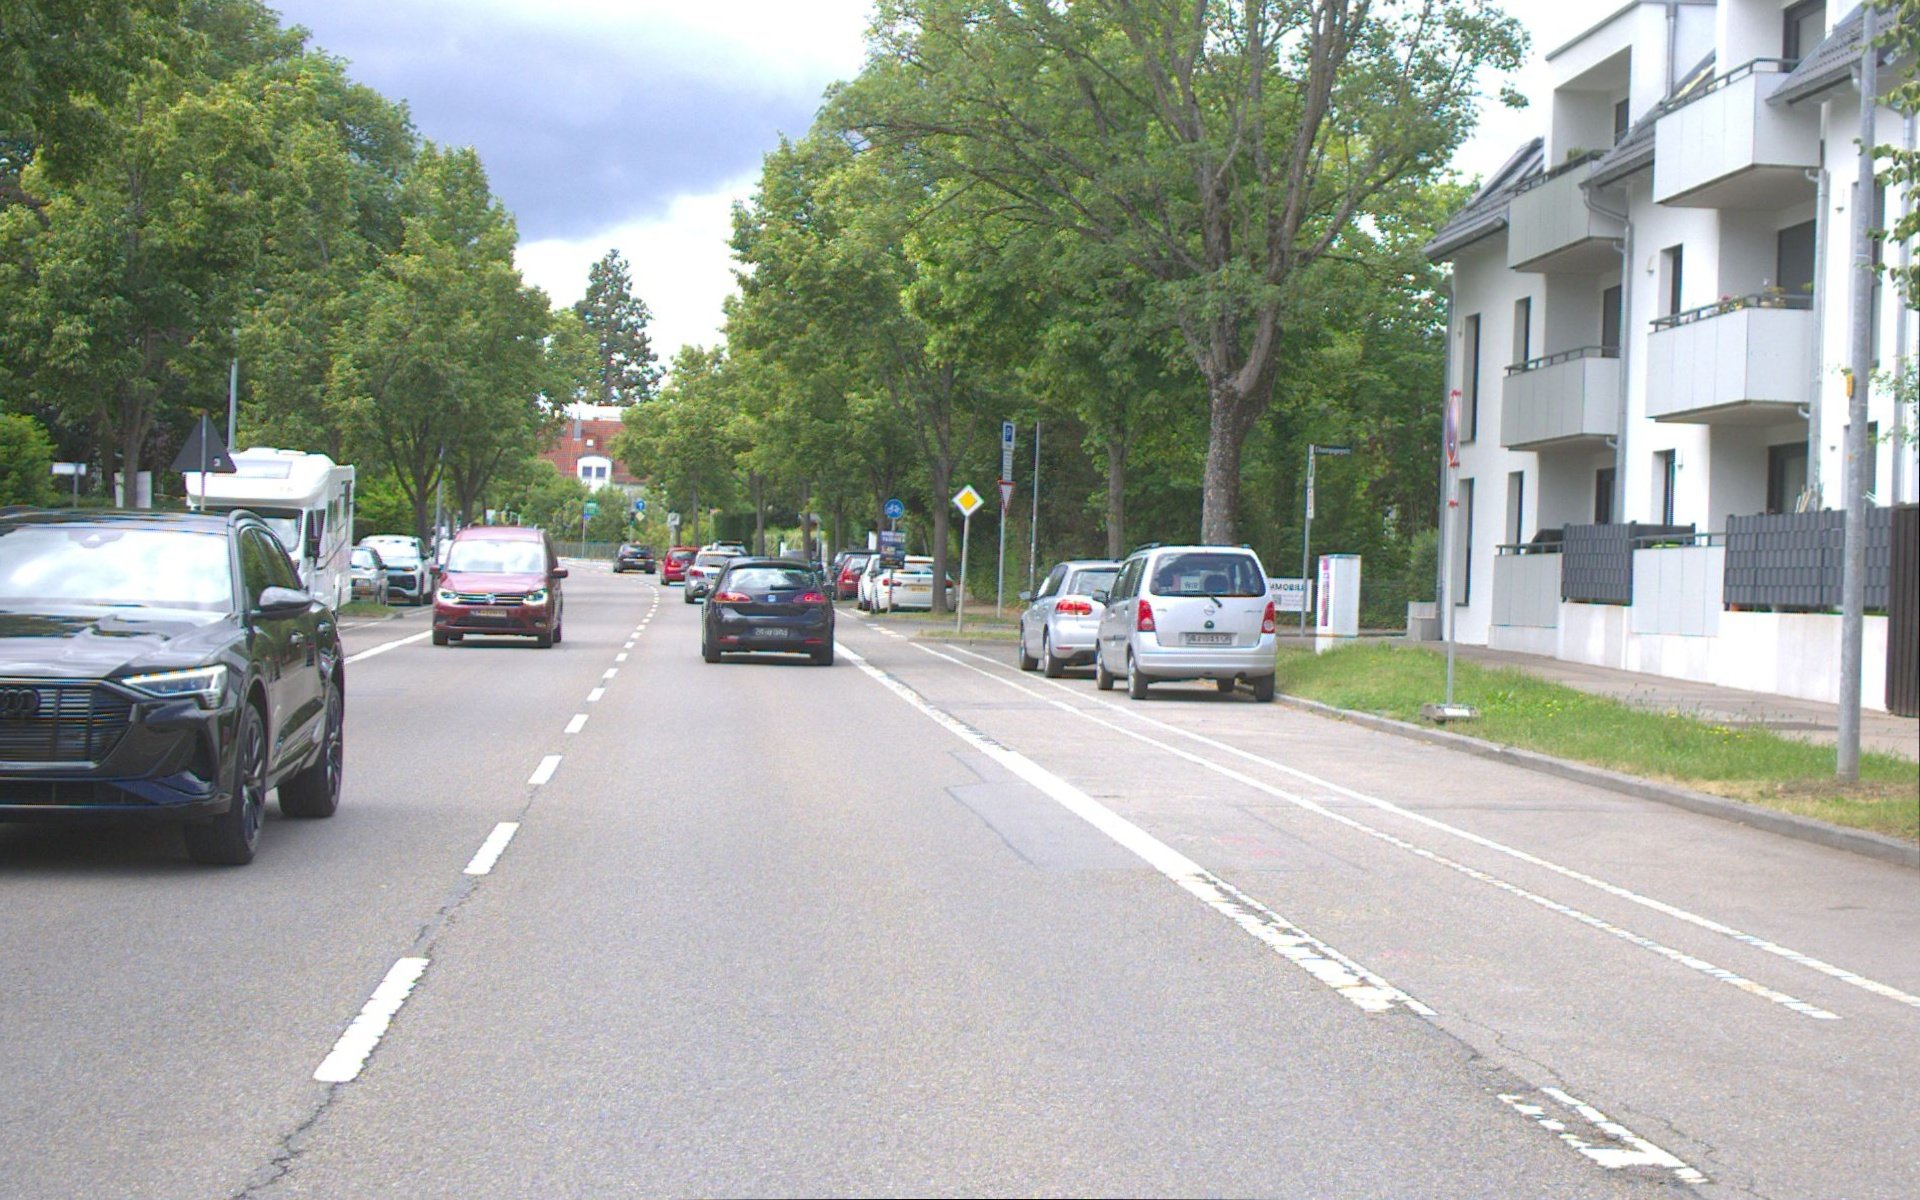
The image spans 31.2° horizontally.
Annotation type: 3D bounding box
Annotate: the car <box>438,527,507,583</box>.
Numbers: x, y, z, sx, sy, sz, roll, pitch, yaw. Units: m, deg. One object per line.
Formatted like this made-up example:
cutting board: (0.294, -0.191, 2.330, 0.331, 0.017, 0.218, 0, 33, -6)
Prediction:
car: (-15.562, -1.450, 110.018, 1.873, 1.682, 4.867, 1, 1, -5)

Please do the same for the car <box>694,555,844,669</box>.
car: (-2.642, 0.132, 46.929, 1.783, 1.444, 3.559, 2, 1, -7)

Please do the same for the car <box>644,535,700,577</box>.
car: (-11.056, -1.694, 131.894, 1.993, 1.525, 4.001, 1, 1, -6)

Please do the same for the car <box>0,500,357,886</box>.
car: (-4.285, 0.368, 17.084, 1.993, 1.662, 4.590, 0, 1, -3)

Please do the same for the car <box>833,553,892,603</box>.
car: (-2.914, -0.663, 102.063, 1.638, 1.415, 4.001, 1, 1, -3)

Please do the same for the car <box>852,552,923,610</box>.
car: (-1.928, -0.505, 90.206, 1.615, 1.455, 3.658, 1, 1, -5)

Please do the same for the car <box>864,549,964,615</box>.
car: (-1.129, -0.457, 81.795, 2.020, 1.438, 5.026, 2, 1, -4)

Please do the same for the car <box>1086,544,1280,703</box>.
car: (2.445, 0.224, 38.427, 1.632, 1.660, 3.648, 2, 1, -4)

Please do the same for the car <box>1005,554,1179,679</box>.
car: (1.649, 0.178, 44.162, 1.687, 1.488, 4.228, 1, 1, -5)

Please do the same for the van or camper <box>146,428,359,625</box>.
van or camper: (-11.636, -1.193, 57.114, 2.435, 2.999, 7.694, 2, 1, -4)

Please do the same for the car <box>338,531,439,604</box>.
car: (-13.735, -0.790, 82.872, 1.817, 1.646, 4.699, 2, 1, -3)

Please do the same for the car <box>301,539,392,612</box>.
car: (-13.019, -0.536, 73.083, 1.555, 1.465, 4.453, 2, 1, -6)

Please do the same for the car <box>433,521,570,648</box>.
car: (-6.913, -0.263, 52.196, 1.760, 1.797, 4.770, 2, 1, -5)

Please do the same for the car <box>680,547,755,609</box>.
car: (-6.770, -0.596, 95.676, 1.993, 1.552, 4.000, 1, -1, -5)

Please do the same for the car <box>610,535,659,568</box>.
car: (-15.687, -2.321, 165.529, 1.993, 1.503, 4.001, 2, 0, -9)

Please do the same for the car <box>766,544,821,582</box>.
car: (-6.658, -1.481, 136.890, 1.682, 1.427, 4.045, 1, 1, -10)
